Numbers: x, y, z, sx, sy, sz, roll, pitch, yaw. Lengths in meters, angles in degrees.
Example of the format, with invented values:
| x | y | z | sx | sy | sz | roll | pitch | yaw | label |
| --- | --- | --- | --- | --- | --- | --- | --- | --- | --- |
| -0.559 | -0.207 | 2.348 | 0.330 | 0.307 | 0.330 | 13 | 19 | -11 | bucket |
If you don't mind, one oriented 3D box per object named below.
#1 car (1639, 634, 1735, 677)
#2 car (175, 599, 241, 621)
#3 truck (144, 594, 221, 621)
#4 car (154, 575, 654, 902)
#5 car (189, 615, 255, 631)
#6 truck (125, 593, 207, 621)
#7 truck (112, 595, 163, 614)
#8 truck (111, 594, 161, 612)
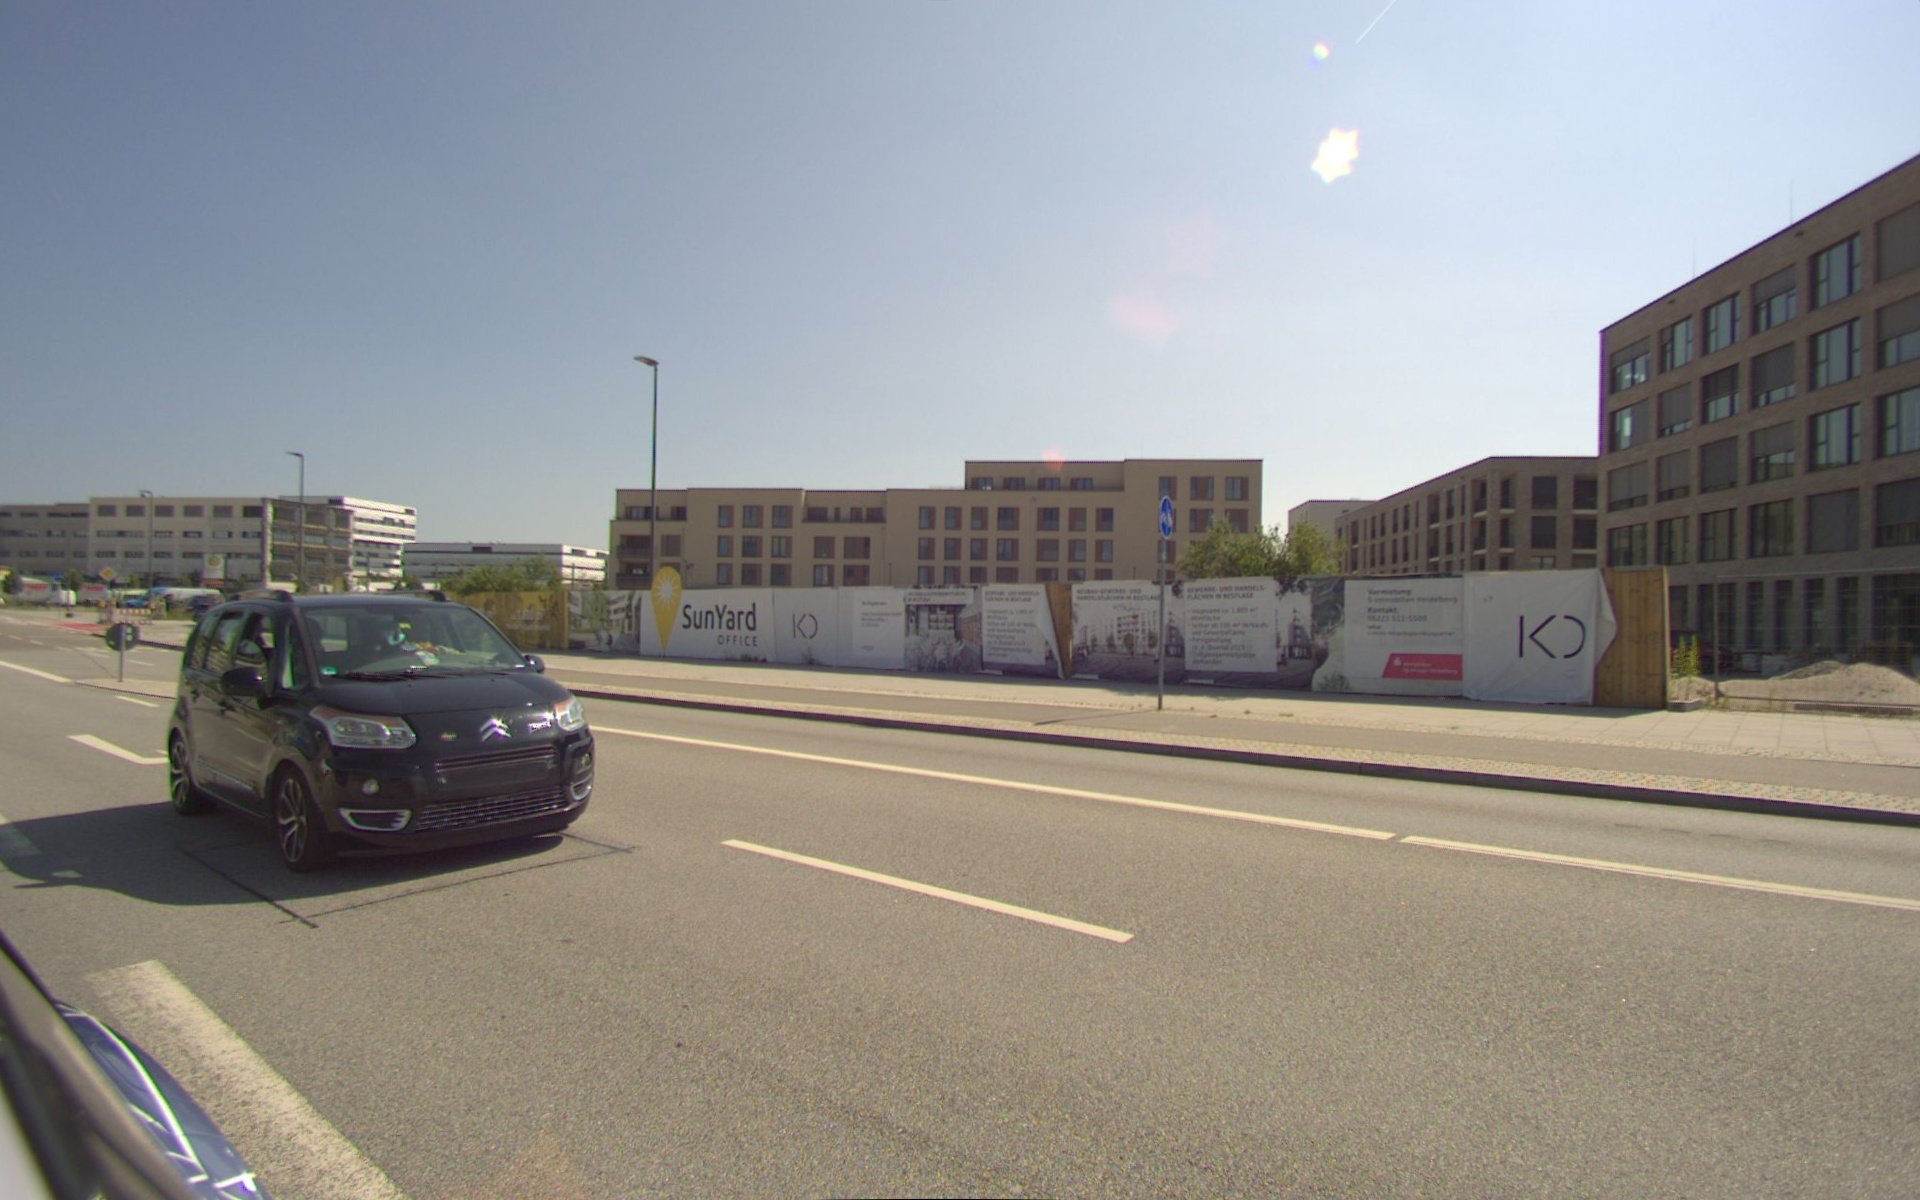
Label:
| x | y | z | sx | sy | sz | roll | pitch | yaw | label |
| --- | --- | --- | --- | --- | --- | --- | --- | --- | --- |
| 32.126 | 2.440 | 44.860 | 1.814 | 1.666 | 3.772 | -1 | 0 | 7 | car |
| -60.029 | 0.787 | 80.850 | 1.888 | 1.731 | 3.885 | 0 | 0 | 35 | car |
| -66.985 | 0.627 | 87.280 | 1.998 | 2.245 | 4.942 | 0 | 0 | 39 | truck |
| -3.998 | 0.690 | 7.015 | 3.914 | 1.634 | 1.785 | 0 | 0 | 41 | car |
| -48.249 | 1.477 | 66.166 | 1.293 | 0.960 | 3.315 | 0 | 0 | 43 | car |
| -72.383 | 0.603 | 92.308 | 1.996 | 2.494 | 5.567 | 0 | 0 | 36 | truck |
| -114.892 | 0.633 | 141.405 | 1.996 | 2.494 | 5.270 | 0 | 0 | 36 | truck |
| -120.098 | 0.438 | 147.484 | 1.998 | 2.494 | 5.346 | 0 | 0 | 38 | truck |
